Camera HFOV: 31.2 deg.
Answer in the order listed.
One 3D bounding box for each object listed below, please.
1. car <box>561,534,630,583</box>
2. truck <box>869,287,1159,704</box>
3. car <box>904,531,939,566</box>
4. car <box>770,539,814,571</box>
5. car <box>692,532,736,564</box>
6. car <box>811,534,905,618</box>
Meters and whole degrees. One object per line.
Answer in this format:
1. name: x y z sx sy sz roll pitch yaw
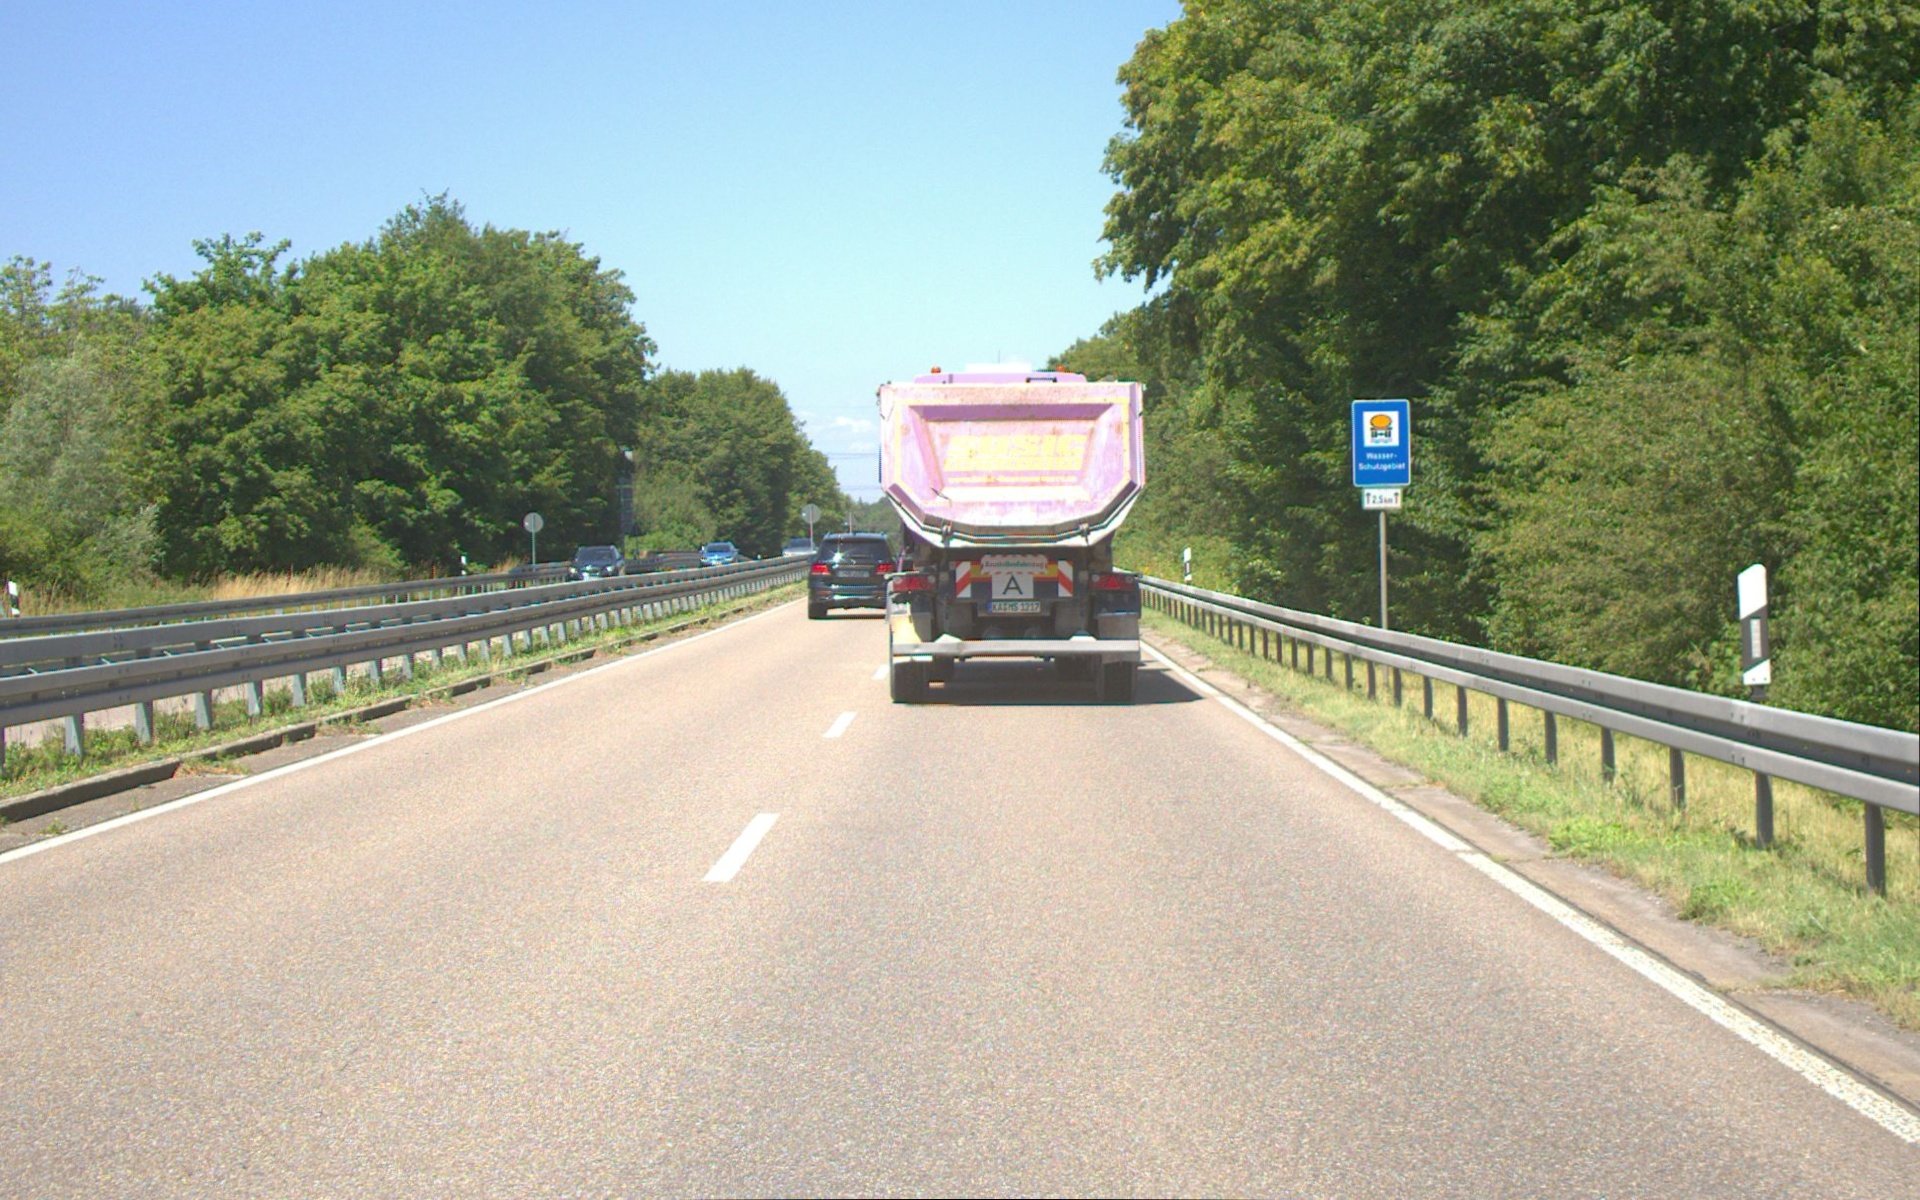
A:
1. car: -12.943 -1.491 122.241 1.779 1.614 4.505 -2 1 2
2. truck: 0.472 -1.087 38.465 2.720 3.916 12.371 0 1 0
3. car: -2.058 -2.740 183.262 1.857 1.712 4.000 0 -1 -1
4. car: -9.232 -2.486 189.175 1.994 1.626 4.552 -2 1 3
5. car: -12.494 -2.632 174.702 1.812 1.537 4.928 -2 1 1
6. car: -2.087 -0.469 71.120 1.857 1.666 4.000 0 -1 -1
